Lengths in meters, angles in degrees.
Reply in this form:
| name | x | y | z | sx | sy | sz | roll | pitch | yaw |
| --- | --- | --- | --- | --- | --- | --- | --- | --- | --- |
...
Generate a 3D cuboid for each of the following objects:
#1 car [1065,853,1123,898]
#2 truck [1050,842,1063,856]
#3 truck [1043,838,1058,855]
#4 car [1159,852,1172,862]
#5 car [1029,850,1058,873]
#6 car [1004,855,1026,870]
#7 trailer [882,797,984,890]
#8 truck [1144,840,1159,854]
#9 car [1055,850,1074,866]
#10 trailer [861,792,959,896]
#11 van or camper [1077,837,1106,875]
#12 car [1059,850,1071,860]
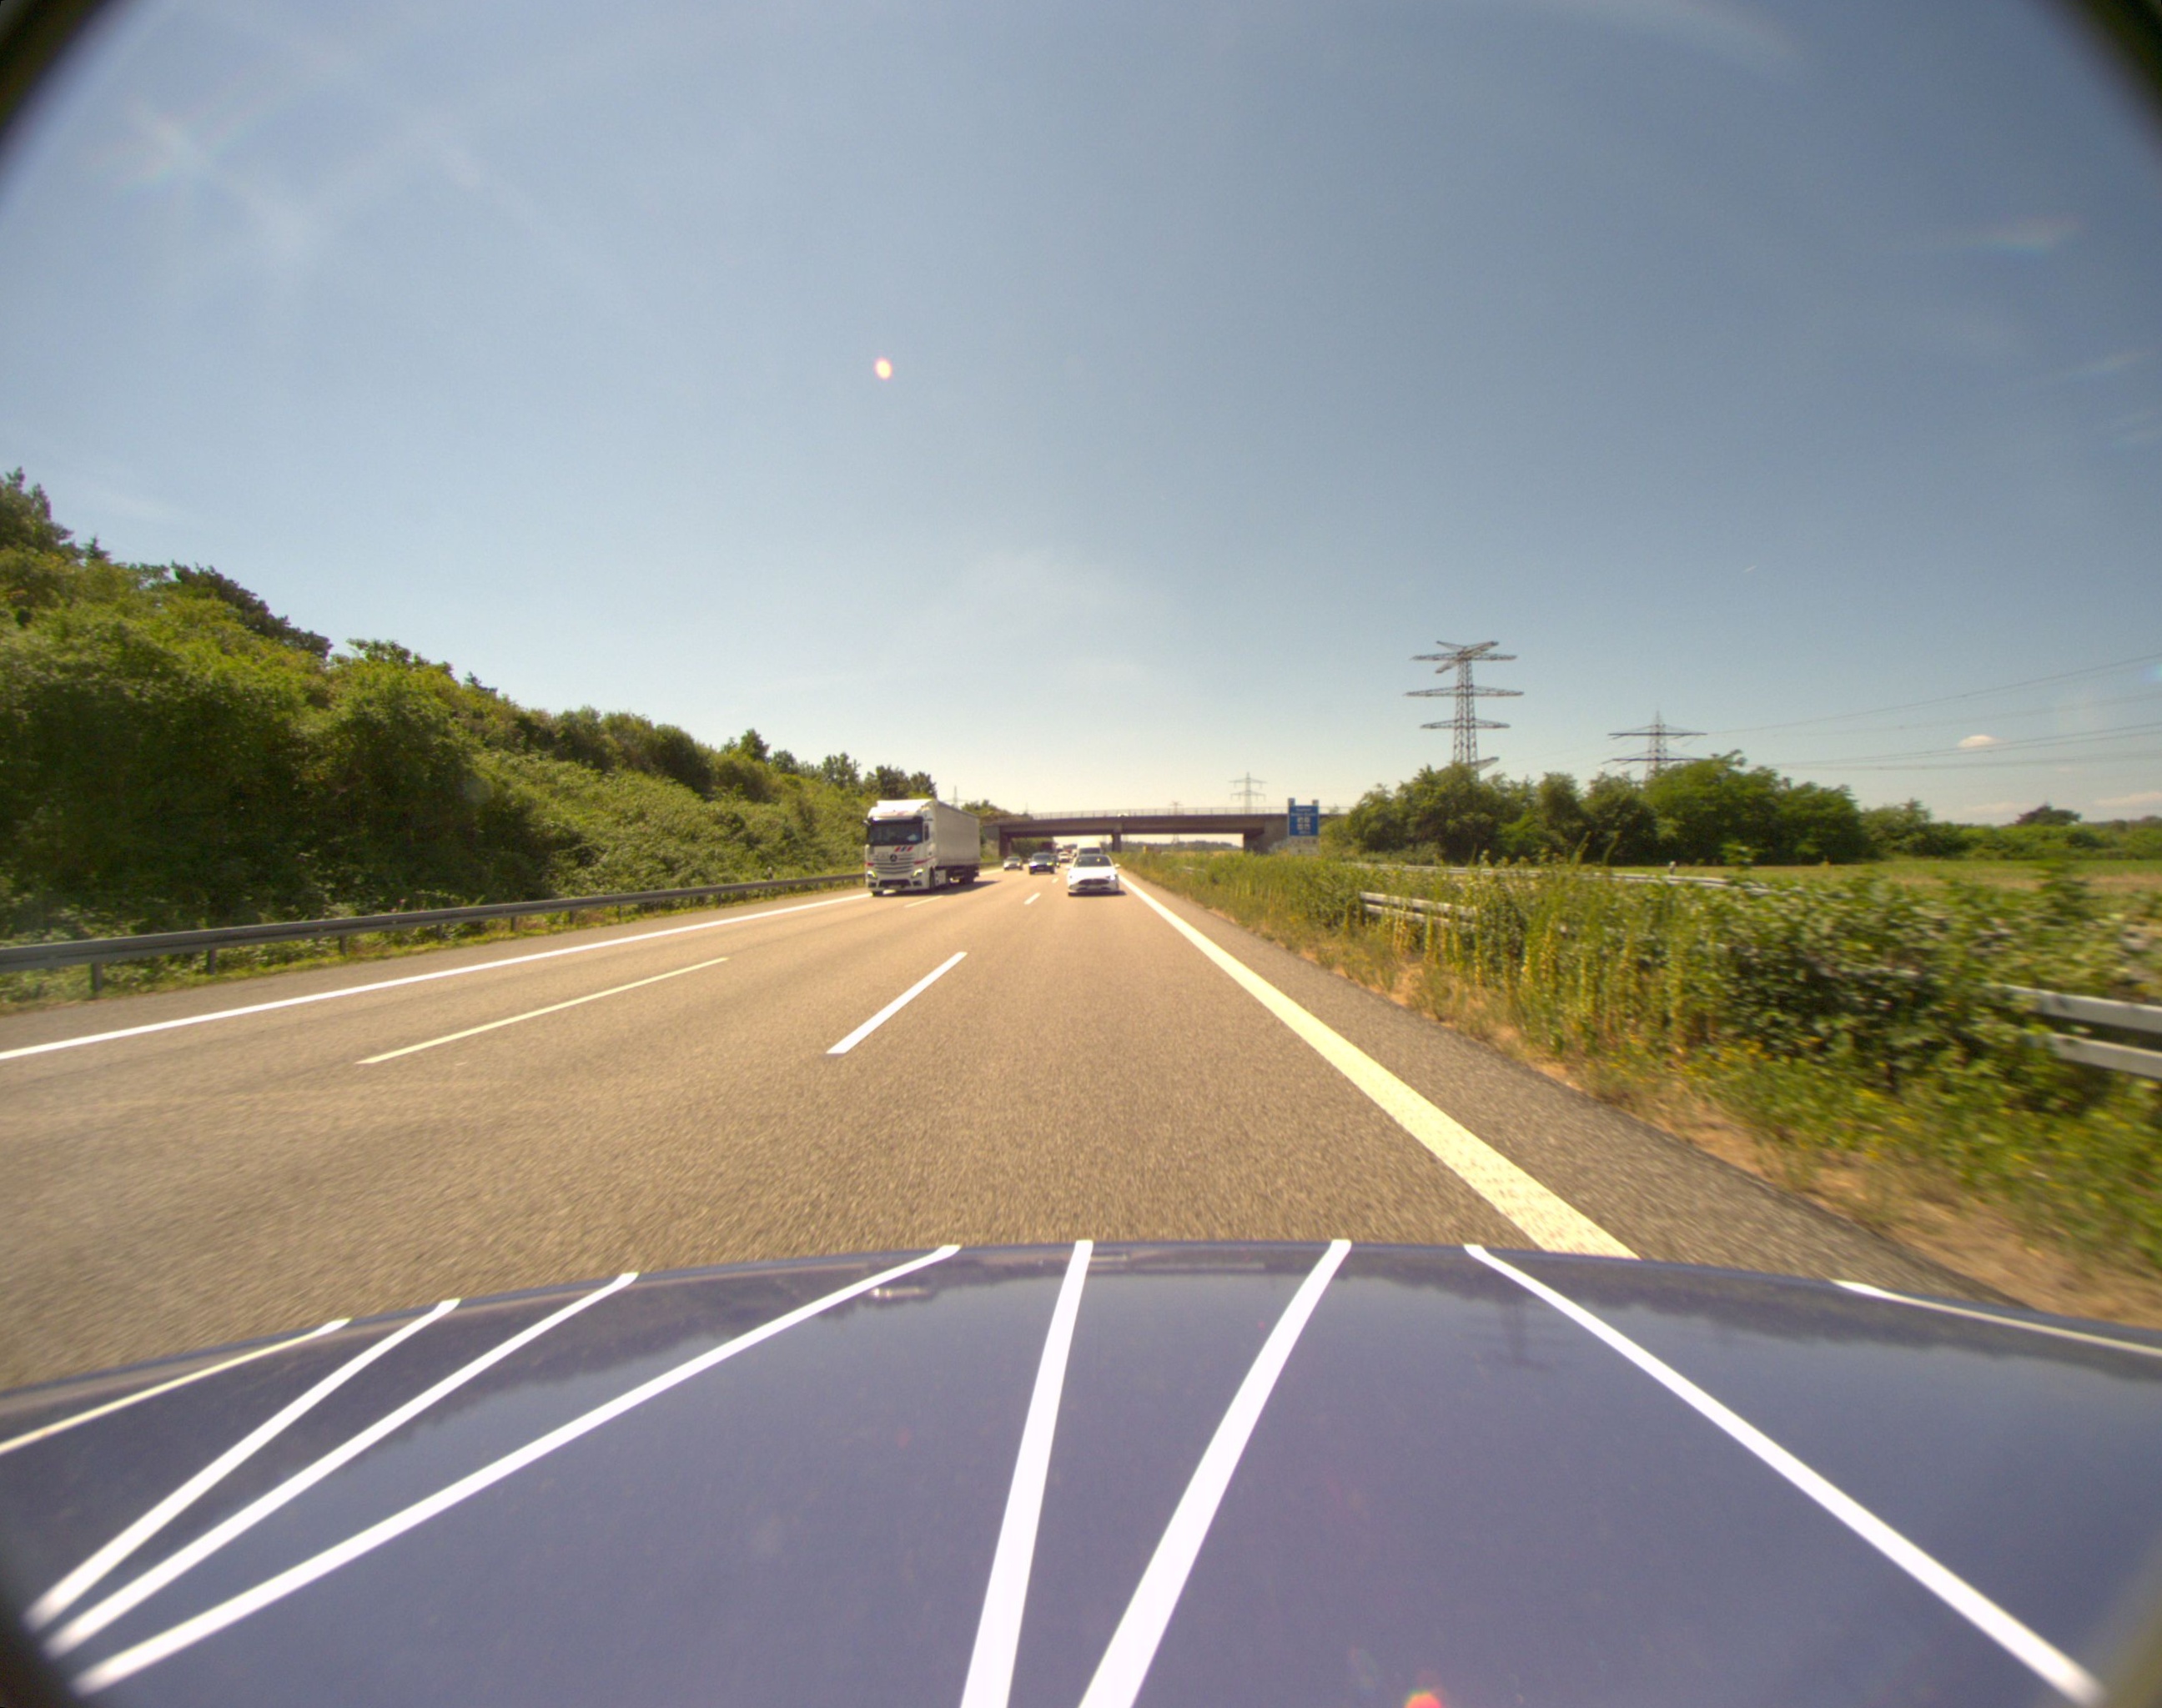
| name | x | y | z | sx | sy | sz | roll | pitch | yaw |
| --- | --- | --- | --- | --- | --- | --- | --- | --- | --- |
| car | 0.437 | 0.749 | 28.433 | 1.984 | 1.525 | 4.558 | -1 | 0 | 0 |
| truck | -7.017 | -1.365 | 217.481 | 3.507 | 3.891 | 9.646 | -1 | 1 | -1 |
| truck | -5.999 | -1.537 | 149.779 | 2.581 | 3.204 | 5.712 | -3 | 1 | 0 |
| car | 15.290 | 0.543 | 137.888 | 1.846 | 1.642 | 4.013 | -2 | 0 | 0 |
| car | -2.898 | 0.579 | 59.569 | 1.984 | 1.671 | 4.558 | -1 | 0 | 0 |
| car | -6.770 | 0.820 | 78.159 | 1.840 | 1.403 | 4.558 | -2 | 0 | 0 |
| trailer | -7.445 | -0.501 | 40.525 | 2.735 | 4.079 | 13.187 | -1 | 0 | 0 |
| truck | 20.370 | -1.989 | 219.775 | 3.520 | 3.840 | 8.661 | -2 | 0 | 1 |
| car | -1.748 | 0.431 | 83.595 | 1.984 | 1.671 | 4.558 | 0 | 0 | 0 |
| trailer | -7.414 | -0.419 | 33.863 | 2.720 | 4.079 | 6.788 | -1 | 1 | 0 |
| van or camper | 0.857 | 0.097 | 58.745 | 1.998 | 2.740 | 5.410 | -2 | 0 | 2 |
| car | -2.631 | 0.125 | 127.089 | 1.984 | 1.525 | 4.137 | -1 | 0 | 0 |
